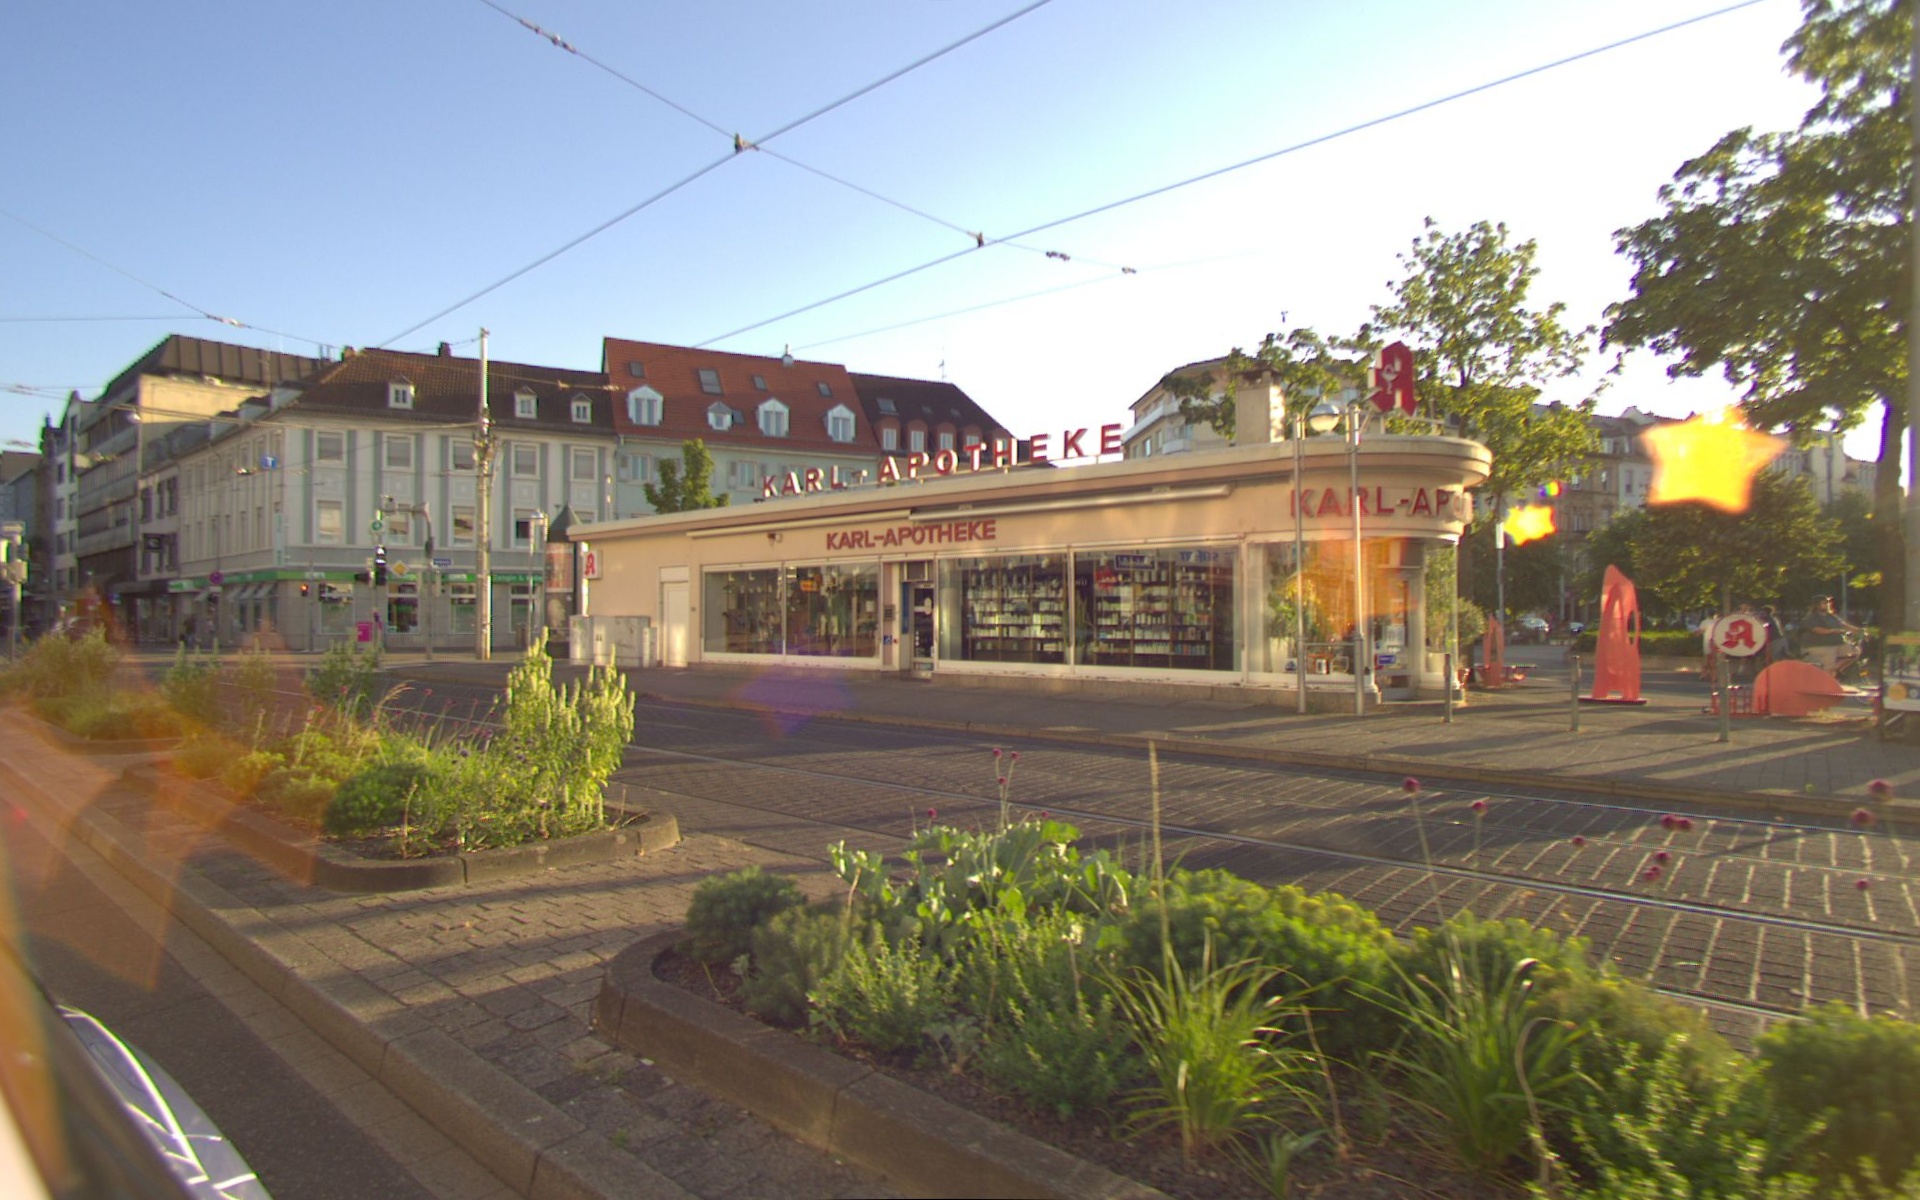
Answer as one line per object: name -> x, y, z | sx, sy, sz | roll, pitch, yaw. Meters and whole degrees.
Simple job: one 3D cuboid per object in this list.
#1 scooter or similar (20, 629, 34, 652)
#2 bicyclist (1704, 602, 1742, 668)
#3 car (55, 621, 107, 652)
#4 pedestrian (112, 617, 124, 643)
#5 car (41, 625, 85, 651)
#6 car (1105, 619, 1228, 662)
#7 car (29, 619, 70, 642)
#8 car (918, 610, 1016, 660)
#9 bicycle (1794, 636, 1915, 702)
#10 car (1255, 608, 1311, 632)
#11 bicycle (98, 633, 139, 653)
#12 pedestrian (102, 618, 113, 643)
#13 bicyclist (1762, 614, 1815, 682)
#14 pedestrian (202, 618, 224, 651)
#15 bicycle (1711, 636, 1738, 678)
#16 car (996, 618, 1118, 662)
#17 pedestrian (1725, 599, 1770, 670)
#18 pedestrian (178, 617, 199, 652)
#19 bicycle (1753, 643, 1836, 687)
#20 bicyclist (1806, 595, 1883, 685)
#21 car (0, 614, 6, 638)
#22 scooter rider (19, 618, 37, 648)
scooter or similar -> -57.078, 2.483, 61.919 | 0.537, 1.361, 1.671 | 1, -1, -41
bicyclist -> 17.992, 0.823, 23.863 | 0.677, 1.531, 0.648 | -1, -1, 40
car -> -55.523, 2.300, 63.881 | 4.126, 1.809, 1.890 | 0, 0, 40
pedestrian -> -58.521, 2.075, 70.320 | 0.600, 1.747, 0.509 | 1, -1, 41
car -> -60.089, 2.538, 67.793 | 3.997, 1.636, 1.679 | -2, -1, 40
car -> 7.721, 1.489, 38.073 | 4.241, 1.419, 1.641 | 1, 0, 35
car -> -68.552, 2.279, 76.195 | 3.998, 1.569, 1.796 | 1, 0, 41
car -> 0.271, 1.485, 44.624 | 3.998, 2.029, 1.973 | 1, 0, 41
bicycle -> 15.974, 1.208, 18.125 | 0.488, 1.120, 1.714 | 1, -2, -7
car -> 20.768, 1.307, 65.071 | 3.294, 1.479, 1.555 | 1, -1, -26
bicycle -> -46.269, 2.364, 55.643 | 1.715, 1.067, 0.499 | 1, -3, -41
pedestrian -> -58.827, 2.090, 69.829 | 0.583, 1.697, 0.503 | 0, 0, 40
bicyclist -> 19.009, 1.095, 23.226 | 0.665, 1.531, 0.659 | 0, -1, -22
pedestrian -> -38.061, 1.761, 51.564 | 0.814, 1.653, 0.816 | -1, -1, -33
bicycle -> 17.910, 1.316, 23.690 | 0.425, 0.922, 1.510 | 1, 0, 40
car -> 3.937, 1.586, 41.453 | 4.669, 1.577, 1.783 | 1, 0, 34
pedestrian -> 19.206, 0.841, 24.683 | 0.666, 1.688, 0.659 | 1, 0, -34
pedestrian -> -39.236, 1.745, 51.486 | 0.814, 1.741, 0.816 | -1, -1, -34
bicycle -> 19.038, 1.466, 23.112 | 0.418, 0.922, 1.432 | 1, 0, -20
bicyclist -> 15.964, 0.710, 18.275 | 0.742, 1.588, 0.704 | 1, 0, -7
car -> -86.463, 2.320, 89.953 | 3.998, 2.029, 1.973 | 1, 0, 41
scooter rider -> -57.142, 2.031, 62.051 | 0.801, 1.821, 0.789 | 1, -3, -42
